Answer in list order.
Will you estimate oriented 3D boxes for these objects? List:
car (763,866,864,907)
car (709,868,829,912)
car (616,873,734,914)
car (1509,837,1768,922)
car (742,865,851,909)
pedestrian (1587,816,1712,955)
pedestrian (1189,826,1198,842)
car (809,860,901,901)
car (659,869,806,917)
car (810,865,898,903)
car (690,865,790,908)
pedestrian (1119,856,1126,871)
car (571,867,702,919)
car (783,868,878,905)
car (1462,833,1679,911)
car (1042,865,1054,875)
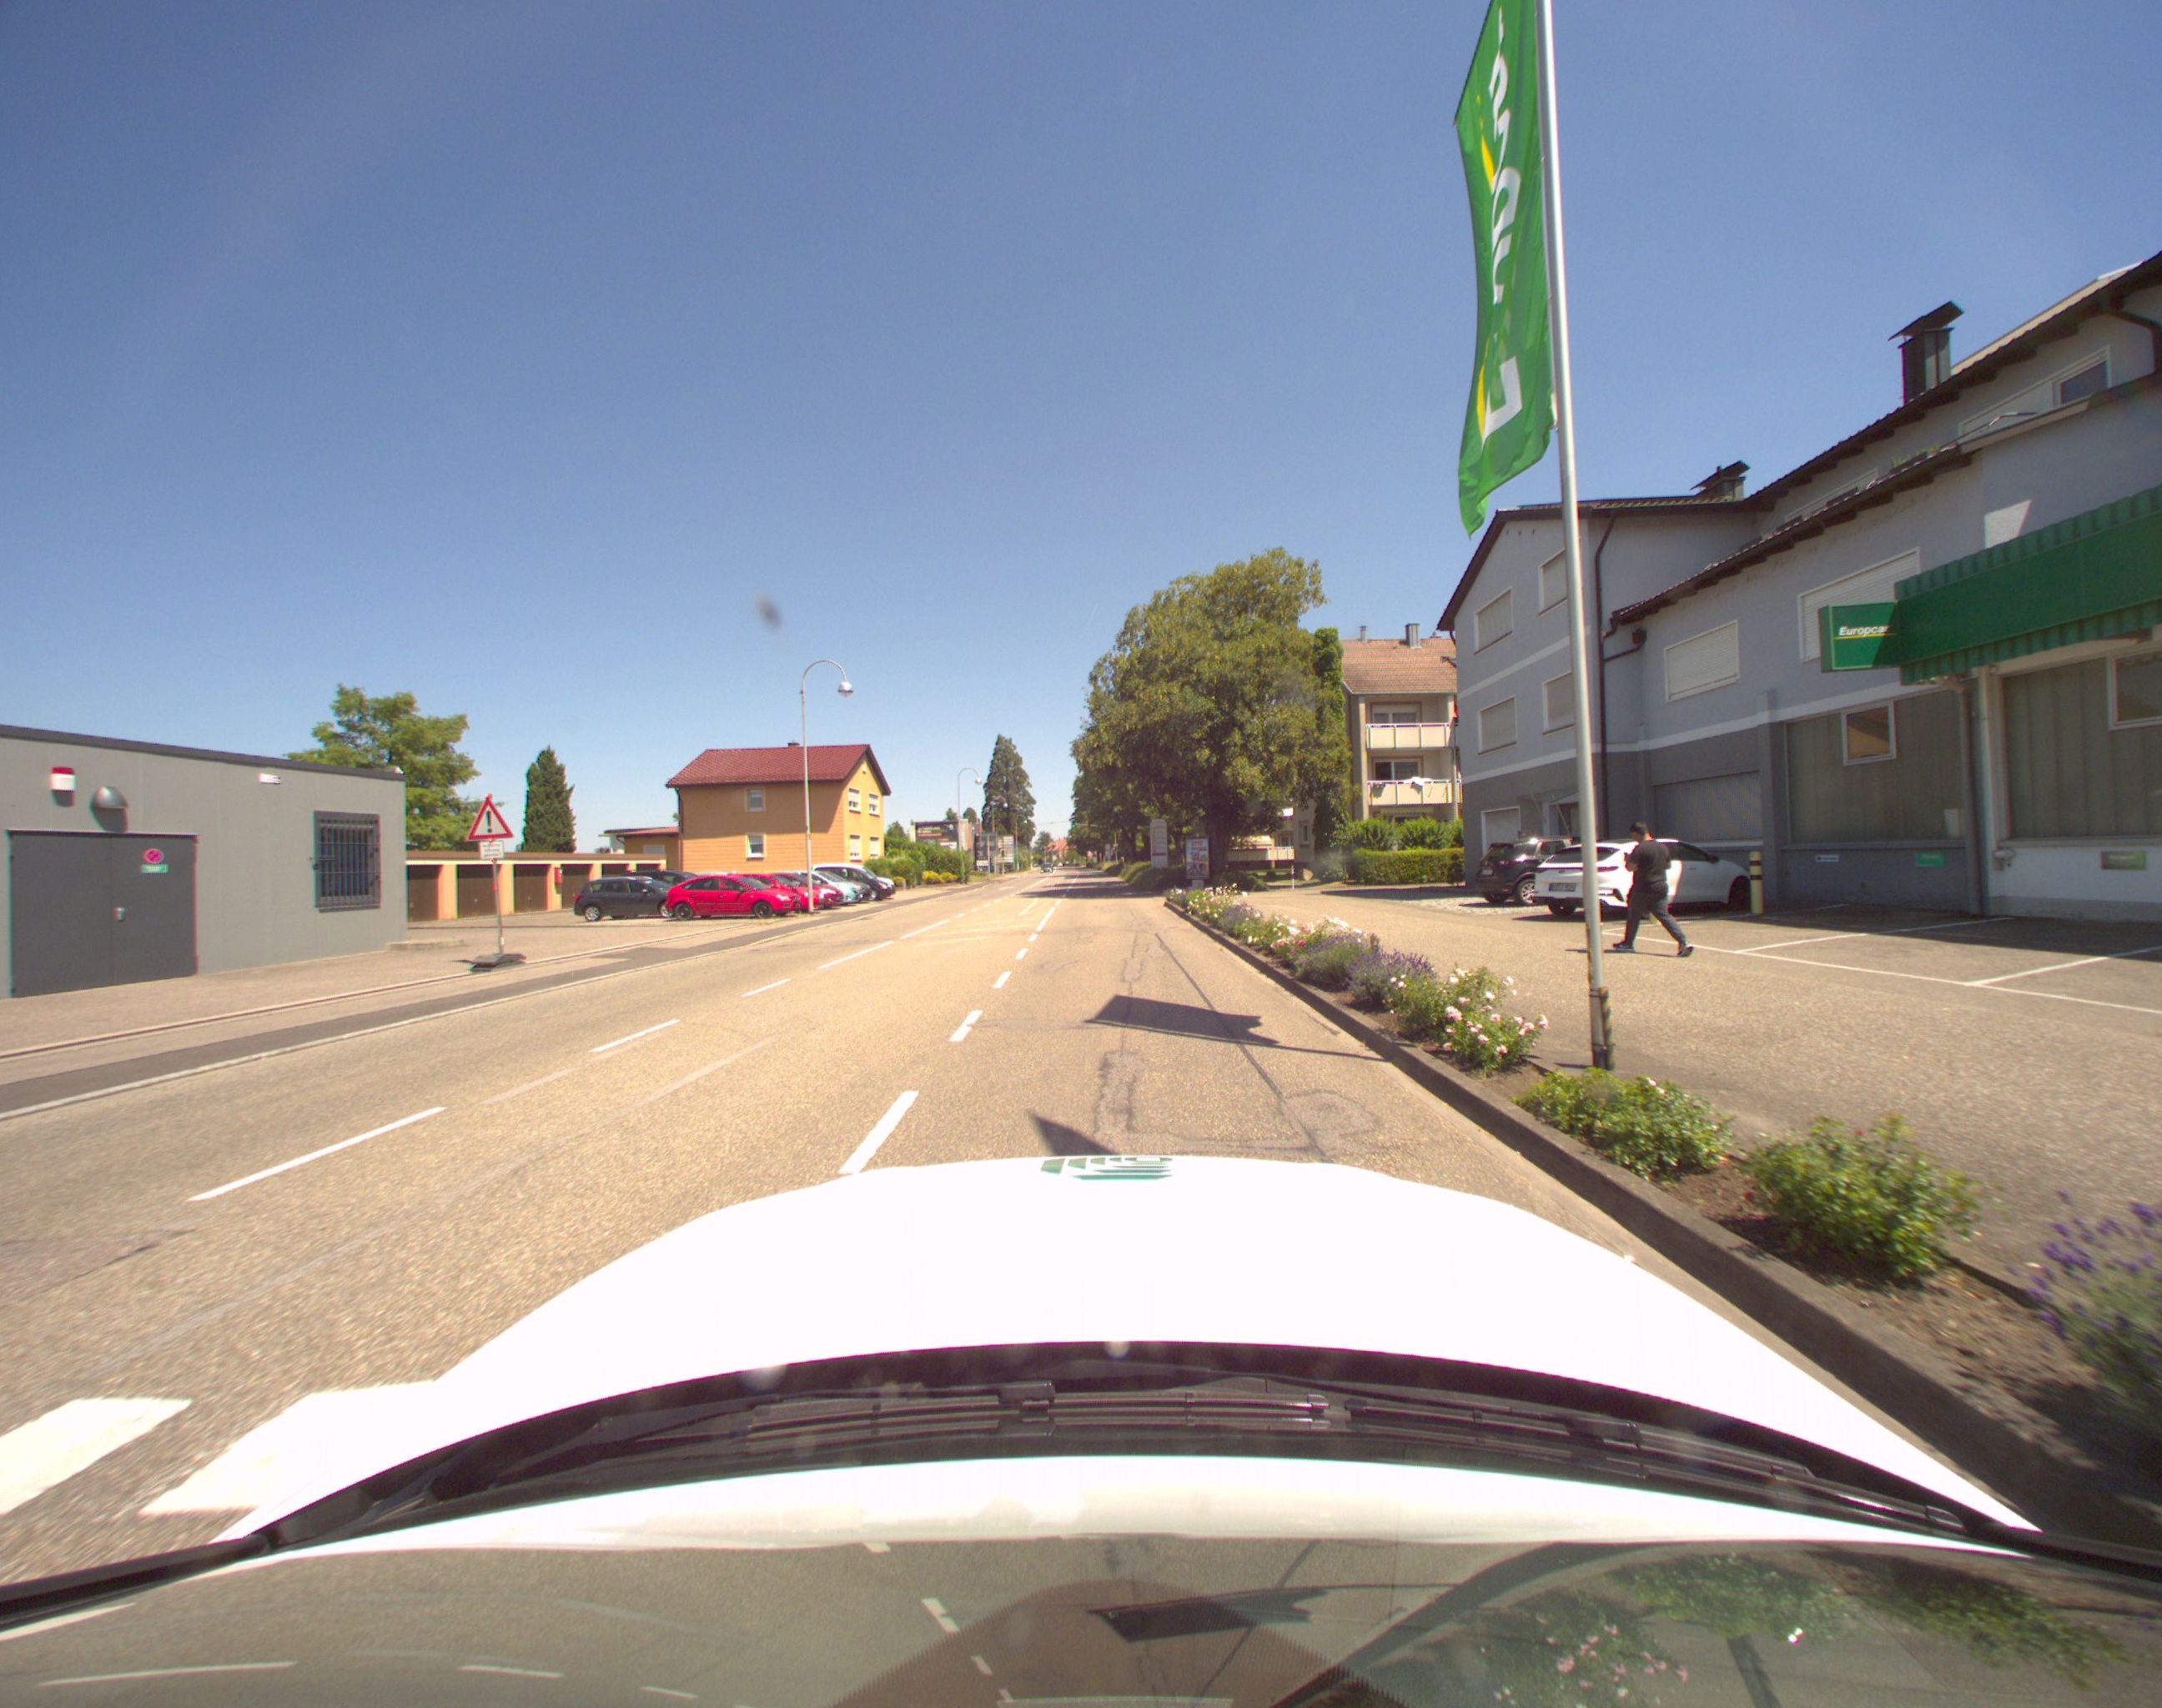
[{"bbox_3d":[-11.341,1.367,34.732,3.654,1.581,1.921,-2,-1,-2],"label":"car"},{"bbox_3d":[-11.428,1.309,30.026,3.654,1.457,1.891,-2,-1,-2],"label":"car"},{"bbox_3d":[-15.984,1.530,32.222,3.654,1.457,1.891,-2,-1,-2],"label":"car"},{"bbox_3d":[10.549,0.434,15.427,4.361,1.371,1.941,-1,-1,-22],"label":"car"},{"bbox_3d":[-11.293,1.295,32.544,3.654,1.605,1.880,-2,-1,-2],"label":"car"},{"bbox_3d":[7.165,0.389,10.322,0.836,1.641,1.011,-3,-1,5],"label":"pedestrian"},{"bbox_3d":[9.928,-1.783,71.700,0.659,1.335,0.889,-2,-1,1],"label":"pedestrian"},{"bbox_3d":[-11.363,1.304,41.210,4.086,1.898,1.997,-2,-1,-4],"label":"car"},{"bbox_3d":[-11.708,1.304,27.549,4.112,1.444,1.826,-2,-1,0],"label":"car"},{"bbox_3d":[-10.854,1.407,39.101,3.654,1.672,1.921,-2,-1,-2],"label":"car"},{"bbox_3d":[-15.366,1.470,36.834,3.654,1.776,1.921,-2,-1,-2],"label":"car"},{"bbox_3d":[4.876,1.149,96.318,0.607,1.751,0.565,-3,-2,31],"label":"pedestrian"},{"bbox_3d":[-16.027,1.376,29.527,3.654,1.709,1.891,-2,-1,-2],"label":"car"},{"bbox_3d":[-11.286,1.458,36.840,3.654,1.532,1.921,-2,-1,-2],"label":"car"},{"bbox_3d":[11.439,0.422,19.223,3.974,1.550,1.797,-3,-1,0],"label":"car"},{"bbox_3d":[-4.946,2.384,122.372,1.704,1.495,4.277,-2,0,0],"label":"car"}]
